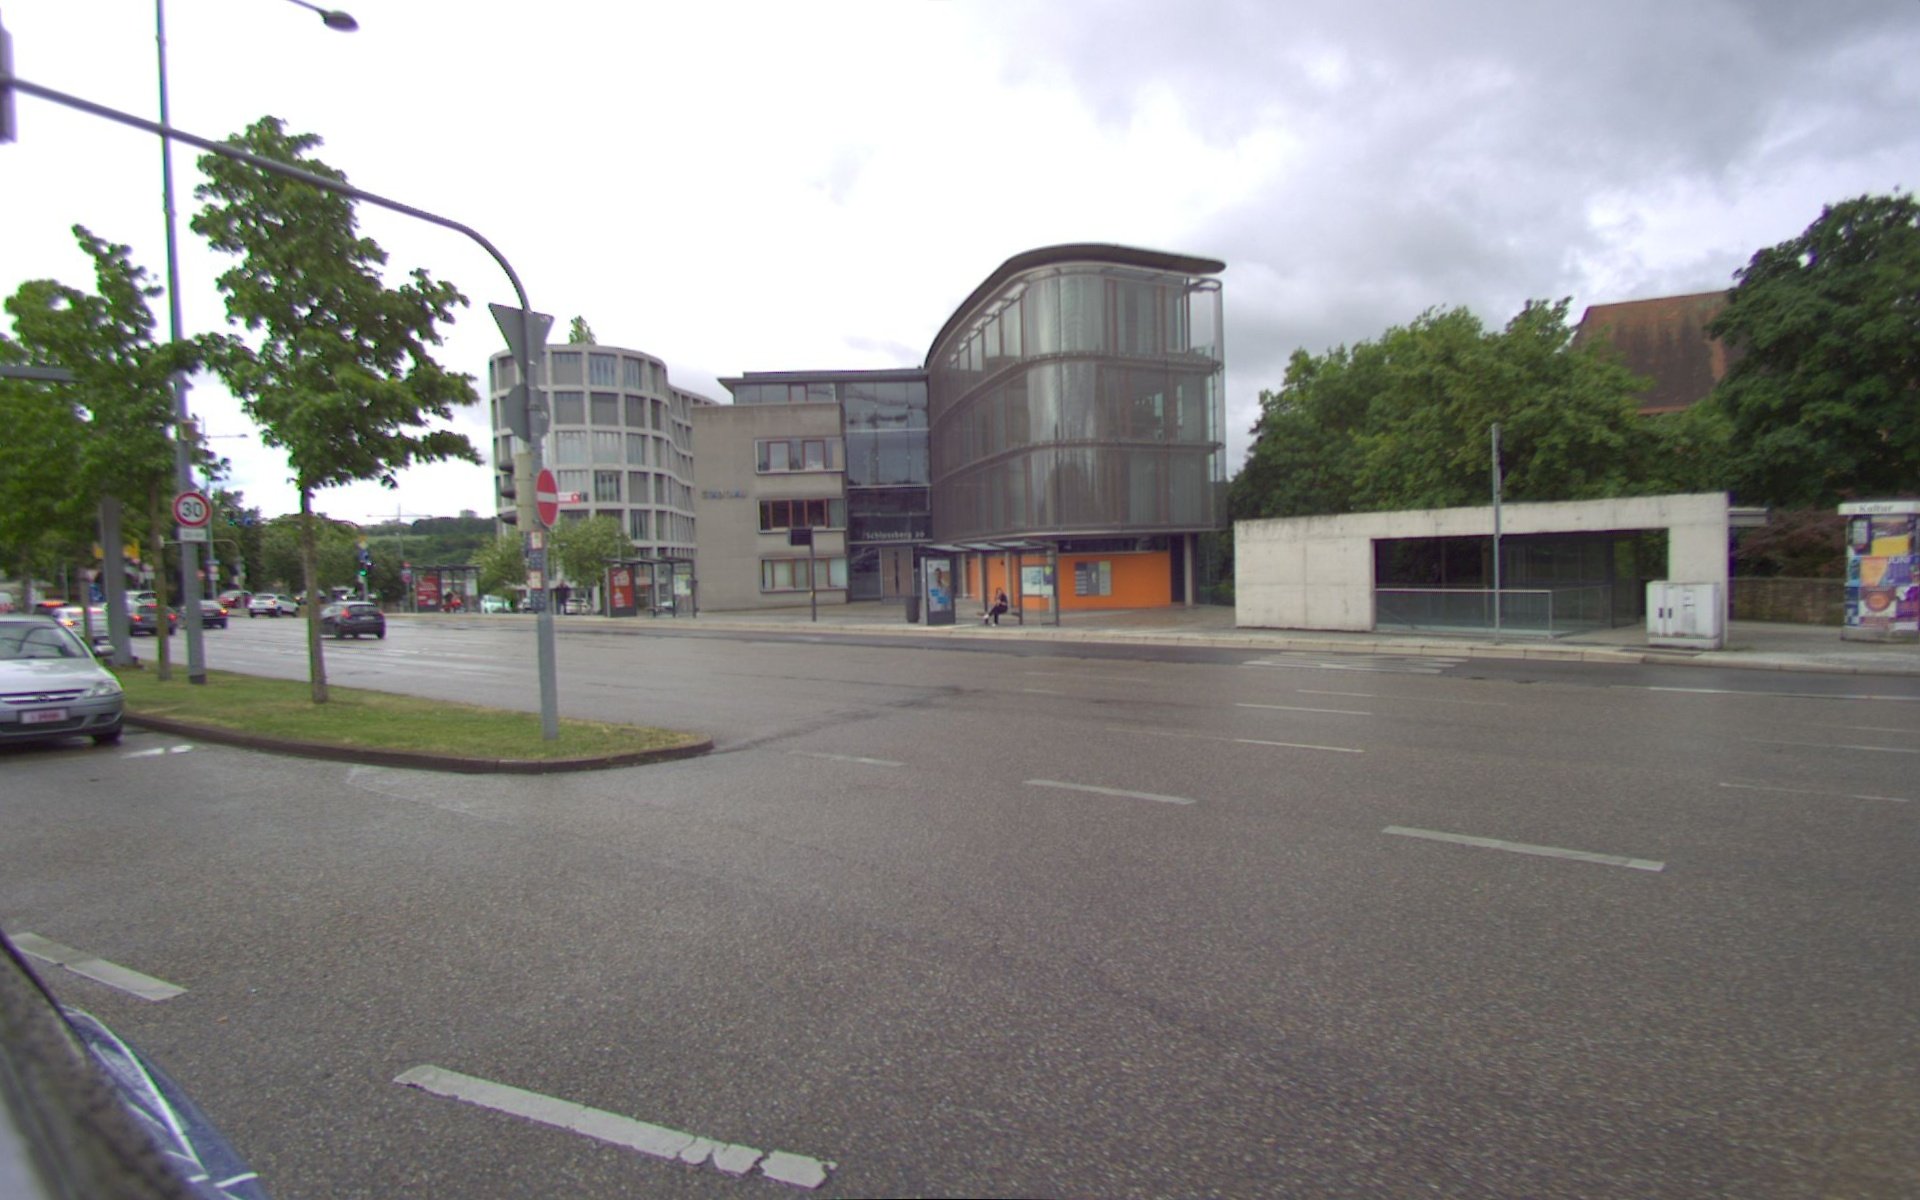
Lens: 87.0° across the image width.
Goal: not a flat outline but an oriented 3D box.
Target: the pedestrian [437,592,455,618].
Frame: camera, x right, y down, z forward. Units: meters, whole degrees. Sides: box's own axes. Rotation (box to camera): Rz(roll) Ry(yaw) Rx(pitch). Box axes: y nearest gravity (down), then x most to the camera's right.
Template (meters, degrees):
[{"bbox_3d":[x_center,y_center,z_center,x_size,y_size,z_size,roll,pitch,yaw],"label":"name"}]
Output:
[{"bbox_3d":[-29.527,0.298,58.151,0.723,1.501,0.735,0,0,-44],"label":"pedestrian"}]

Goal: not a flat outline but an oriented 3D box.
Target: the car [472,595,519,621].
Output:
[{"bbox_3d":[-32.231,0.527,70.307,1.847,1.715,4.164,0,0,-8],"label":"car"}]

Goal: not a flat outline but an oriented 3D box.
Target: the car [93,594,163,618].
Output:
[{"bbox_3d":[-58.927,0.398,71.801,1.847,1.646,4.292,0,0,-7],"label":"car"}]

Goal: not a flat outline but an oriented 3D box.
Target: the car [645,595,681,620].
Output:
[{"bbox_3d":[-21.001,0.502,71.674,1.847,1.715,4.164,0,0,-8],"label":"car"}]

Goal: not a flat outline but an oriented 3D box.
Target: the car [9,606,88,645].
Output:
[{"bbox_3d":[-38.863,1.056,43.121,4.161,1.566,1.985,0,0,40],"label":"car"}]

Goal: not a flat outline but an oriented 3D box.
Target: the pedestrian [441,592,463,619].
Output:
[{"bbox_3d":[-28.866,0.298,57.488,0.969,1.501,0.735,0,0,-43],"label":"pedestrian"}]

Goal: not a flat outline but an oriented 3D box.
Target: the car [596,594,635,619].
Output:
[{"bbox_3d":[-24.345,0.466,71.569,1.847,1.715,4.164,0,0,-8],"label":"car"}]

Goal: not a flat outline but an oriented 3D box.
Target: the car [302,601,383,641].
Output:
[{"bbox_3d":[-24.396,0.788,39.963,3.861,1.523,1.659,0,0,41],"label":"car"}]

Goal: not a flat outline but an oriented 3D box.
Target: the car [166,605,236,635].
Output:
[{"bbox_3d":[-39.055,0.991,52.048,3.995,1.433,1.937,0,0,38],"label":"car"}]

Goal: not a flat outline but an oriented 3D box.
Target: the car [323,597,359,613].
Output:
[{"bbox_3d":[-65.932,0.522,107.860,1.864,1.726,4.227,0,0,-11],"label":"car"}]

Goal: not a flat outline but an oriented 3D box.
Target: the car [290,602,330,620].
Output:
[{"bbox_3d":[-62.769,1.061,97.775,1.863,1.726,4.228,0,0,-12],"label":"car"}]

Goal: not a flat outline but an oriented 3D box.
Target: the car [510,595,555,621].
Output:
[{"bbox_3d":[-29.764,0.522,70.533,1.847,1.715,4.164,0,0,-8],"label":"car"}]

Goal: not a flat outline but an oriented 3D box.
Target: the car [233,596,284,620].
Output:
[{"bbox_3d":[-48.365,0.518,69.767,4.206,1.630,1.935,0,0,41],"label":"car"}]

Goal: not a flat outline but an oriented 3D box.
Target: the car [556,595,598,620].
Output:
[{"bbox_3d":[-26.780,0.501,70.941,1.847,1.714,4.164,-1,0,-8],"label":"car"}]

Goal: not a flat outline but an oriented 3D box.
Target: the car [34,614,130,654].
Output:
[{"bbox_3d":[-33.309,1.248,38.357,4.159,1.363,1.986,0,0,38],"label":"car"}]

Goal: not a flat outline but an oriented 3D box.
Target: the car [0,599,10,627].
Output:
[{"bbox_3d":[-57.147,0.758,57.918,1.848,1.646,4.162,0,0,-4],"label":"car"}]

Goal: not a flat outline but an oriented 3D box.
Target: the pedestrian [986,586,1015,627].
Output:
[{"bbox_3d":[1.319,0.214,32.944,0.720,1.309,0.659,0,0,43],"label":"pedestrian"}]

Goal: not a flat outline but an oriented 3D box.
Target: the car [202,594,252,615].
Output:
[{"bbox_3d":[-60.063,0.389,83.006,1.846,1.646,4.168,-1,0,-13],"label":"car"}]

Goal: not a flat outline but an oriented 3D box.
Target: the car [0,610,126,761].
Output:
[{"bbox_3d":[-10.968,0.870,11.335,3.713,1.477,1.679,0,0,36],"label":"car"}]

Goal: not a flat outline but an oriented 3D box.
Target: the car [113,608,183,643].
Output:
[{"bbox_3d":[-36.978,1.141,46.038,4.449,1.477,1.677,0,0,40],"label":"car"}]
